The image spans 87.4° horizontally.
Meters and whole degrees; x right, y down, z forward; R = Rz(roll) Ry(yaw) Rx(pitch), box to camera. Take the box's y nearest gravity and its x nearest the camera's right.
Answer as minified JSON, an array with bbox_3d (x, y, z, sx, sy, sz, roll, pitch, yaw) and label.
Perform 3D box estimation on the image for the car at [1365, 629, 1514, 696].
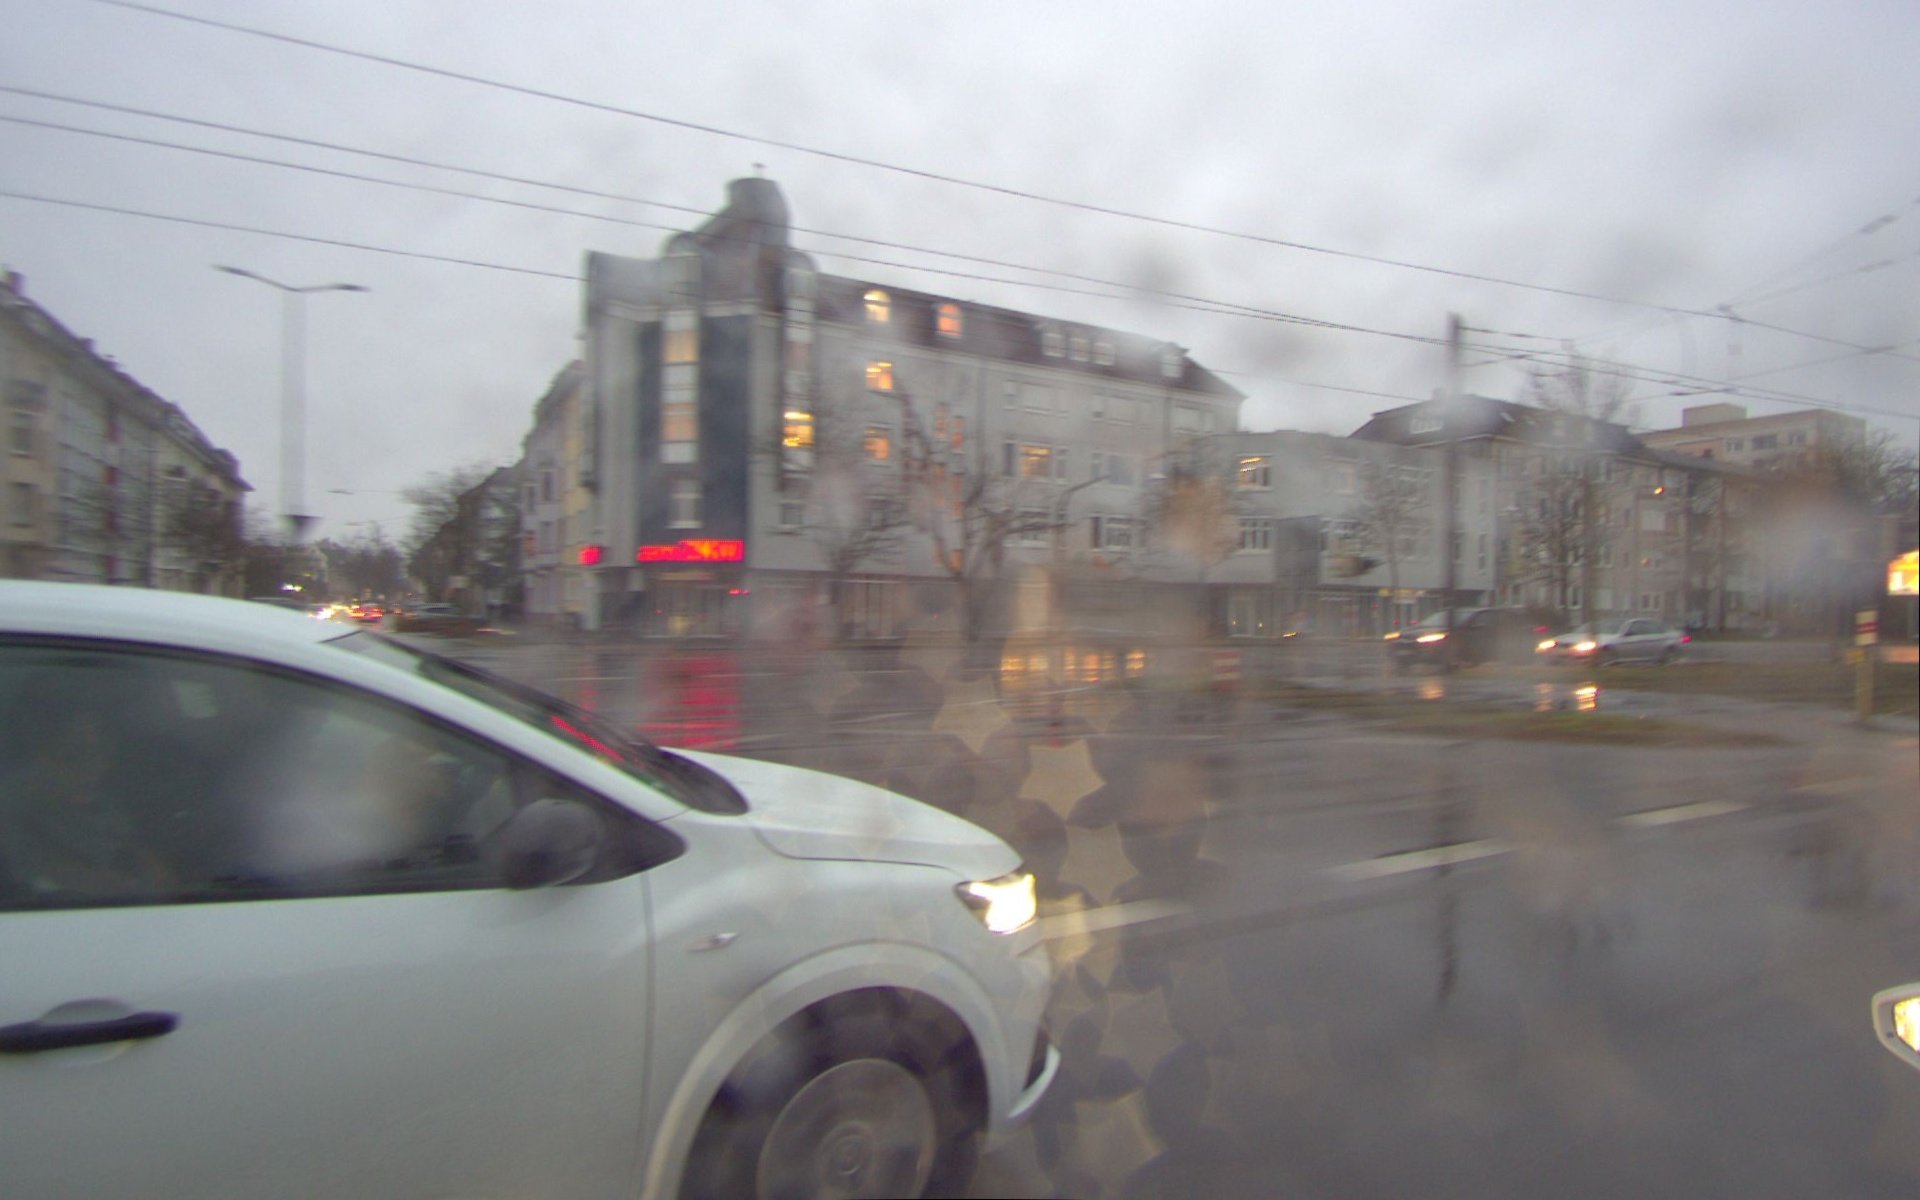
[{"bbox_3d":[13.124,1.690,27.467,3.955,1.628,1.795,2,0,-32],"label":"car"}]

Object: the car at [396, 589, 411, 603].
[{"bbox_3d":[-73.806,-0.559,133.188,1.490,1.736,3.588,2,0,-26],"label":"car"}]

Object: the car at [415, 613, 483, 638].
[{"bbox_3d":[-30.714,1.549,60.395,3.575,1.360,1.589,2,0,-31],"label":"car"}]

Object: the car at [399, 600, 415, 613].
[{"bbox_3d":[-63.020,0.722,114.440,1.425,1.245,3.588,2,0,-26],"label":"car"}]

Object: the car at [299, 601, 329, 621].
[{"bbox_3d":[-49.145,0.853,76.452,1.470,1.379,3.415,2,0,-26],"label":"car"}]

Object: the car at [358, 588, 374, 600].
[{"bbox_3d":[-85.989,-0.827,145.319,1.741,1.621,3.874,2,1,-33],"label":"car"}]

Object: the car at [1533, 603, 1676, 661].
[{"bbox_3d":[19.122,0.970,29.736,4.879,1.549,1.579,2,0,-31],"label":"car"}]

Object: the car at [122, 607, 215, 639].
[{"bbox_3d":[-41.321,1.222,52.515,3.575,1.542,1.667,2,0,-31],"label":"car"}]

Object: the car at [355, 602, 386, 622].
[{"bbox_3d":[-45.413,0.927,77.452,1.662,1.365,3.512,2,0,-25],"label":"car"}]

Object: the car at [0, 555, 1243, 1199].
[{"bbox_3d":[-1.425,0.672,2.347,3.952,1.485,1.700,2,0,-29],"label":"car"}]

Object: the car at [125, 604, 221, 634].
[{"bbox_3d":[-38.127,0.935,48.765,3.414,1.315,1.576,2,0,-31],"label":"car"}]

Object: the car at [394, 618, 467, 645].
[{"bbox_3d":[-29.908,1.780,56.775,3.575,1.360,1.589,2,0,-31],"label":"car"}]

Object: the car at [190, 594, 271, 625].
[{"bbox_3d":[-46.226,0.607,63.755,3.954,1.824,1.562,2,1,-31],"label":"car"}]

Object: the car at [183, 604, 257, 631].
[{"bbox_3d":[-45.011,1.080,61.171,3.474,1.464,1.433,2,1,-31],"label":"car"}]

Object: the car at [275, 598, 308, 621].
[{"bbox_3d":[-59.018,0.787,88.750,1.975,1.855,3.835,2,0,-28],"label":"car"}]
